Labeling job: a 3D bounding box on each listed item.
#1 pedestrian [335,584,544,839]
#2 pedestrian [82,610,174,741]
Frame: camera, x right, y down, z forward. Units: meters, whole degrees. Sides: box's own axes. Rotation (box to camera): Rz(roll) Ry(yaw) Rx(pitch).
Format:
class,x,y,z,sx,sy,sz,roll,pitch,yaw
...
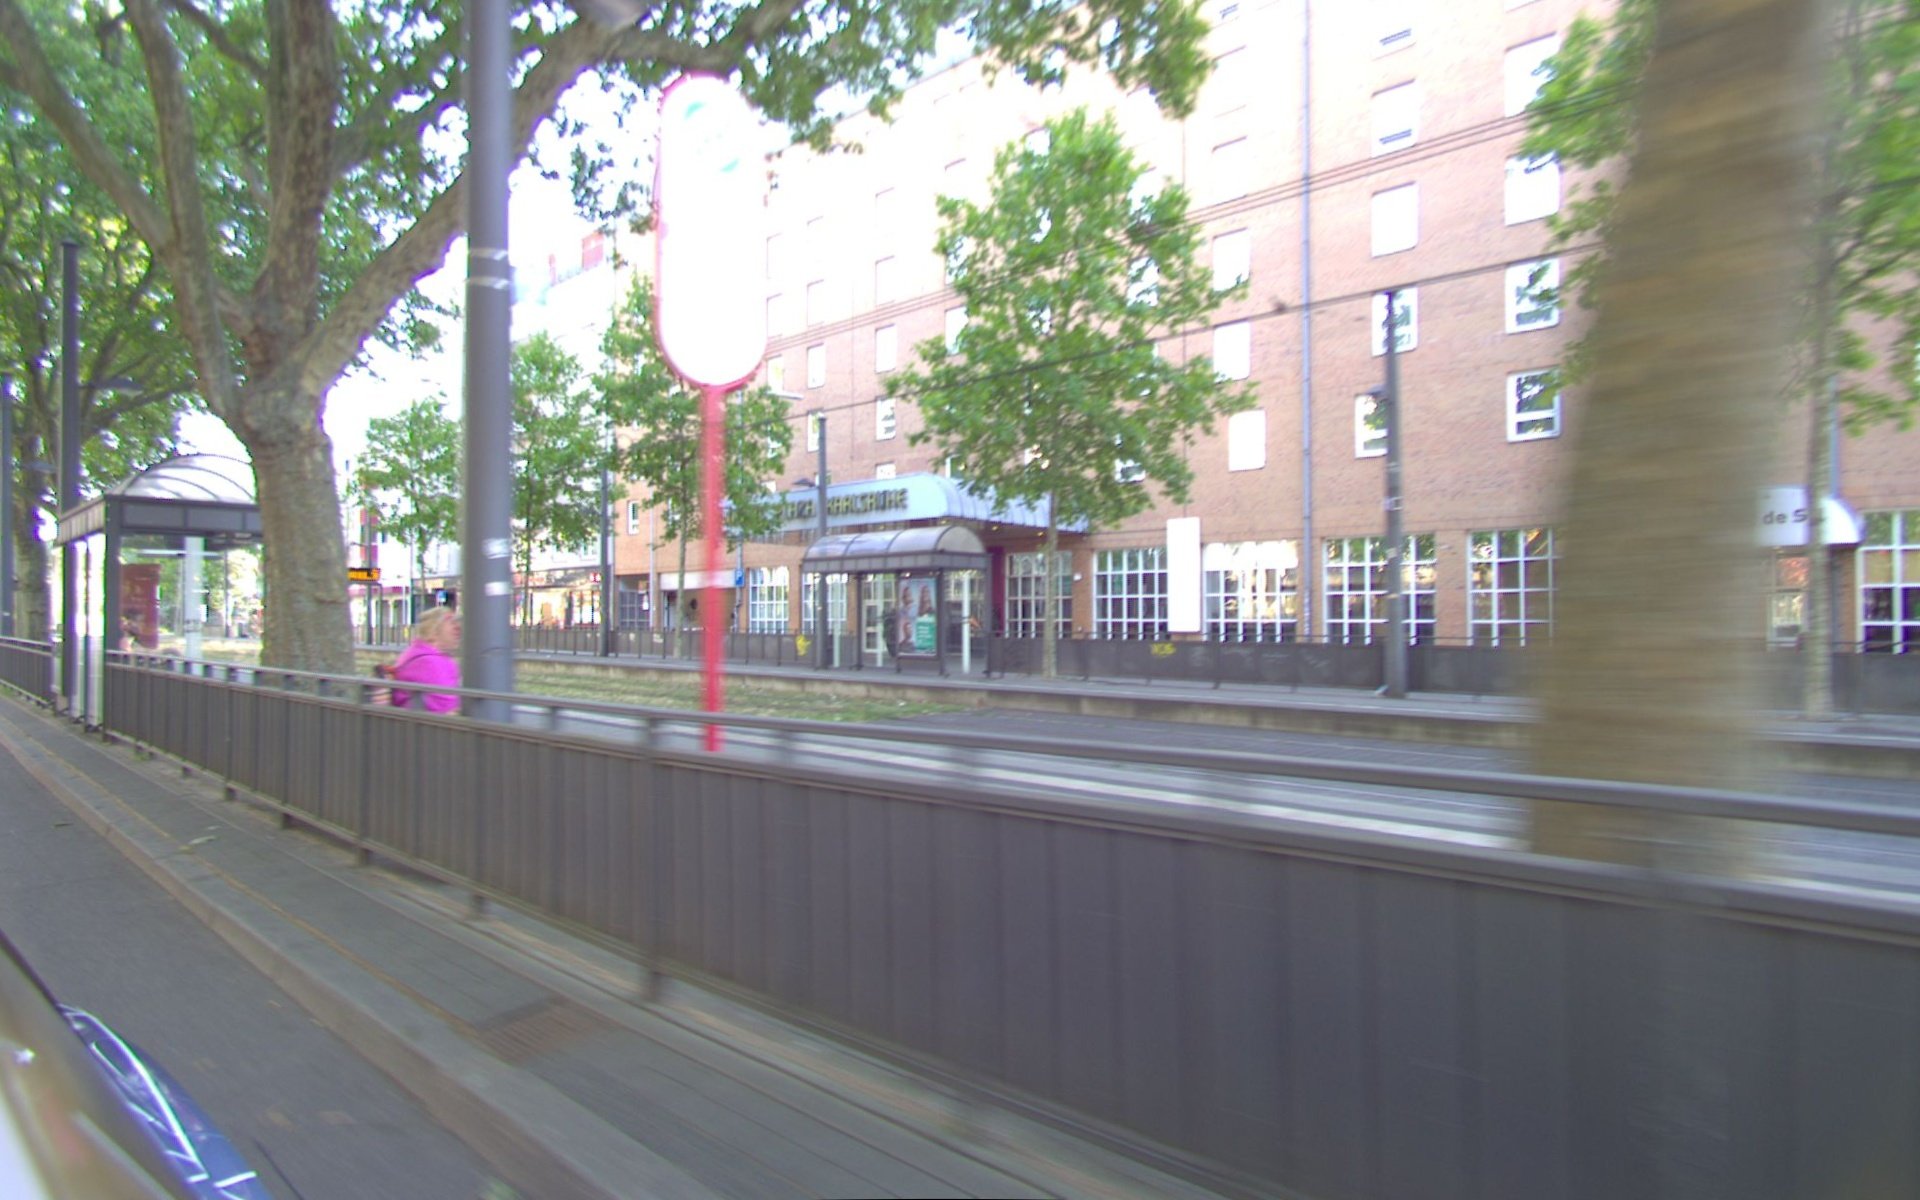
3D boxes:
class,x,y,z,sx,sy,sz,roll,pitch,yaw
pedestrian,-3.173,0.615,6.197,0.664,1.410,0.966,-1,0,44
pedestrian,-9.425,0.824,11.468,0.641,1.398,0.726,-1,0,44
